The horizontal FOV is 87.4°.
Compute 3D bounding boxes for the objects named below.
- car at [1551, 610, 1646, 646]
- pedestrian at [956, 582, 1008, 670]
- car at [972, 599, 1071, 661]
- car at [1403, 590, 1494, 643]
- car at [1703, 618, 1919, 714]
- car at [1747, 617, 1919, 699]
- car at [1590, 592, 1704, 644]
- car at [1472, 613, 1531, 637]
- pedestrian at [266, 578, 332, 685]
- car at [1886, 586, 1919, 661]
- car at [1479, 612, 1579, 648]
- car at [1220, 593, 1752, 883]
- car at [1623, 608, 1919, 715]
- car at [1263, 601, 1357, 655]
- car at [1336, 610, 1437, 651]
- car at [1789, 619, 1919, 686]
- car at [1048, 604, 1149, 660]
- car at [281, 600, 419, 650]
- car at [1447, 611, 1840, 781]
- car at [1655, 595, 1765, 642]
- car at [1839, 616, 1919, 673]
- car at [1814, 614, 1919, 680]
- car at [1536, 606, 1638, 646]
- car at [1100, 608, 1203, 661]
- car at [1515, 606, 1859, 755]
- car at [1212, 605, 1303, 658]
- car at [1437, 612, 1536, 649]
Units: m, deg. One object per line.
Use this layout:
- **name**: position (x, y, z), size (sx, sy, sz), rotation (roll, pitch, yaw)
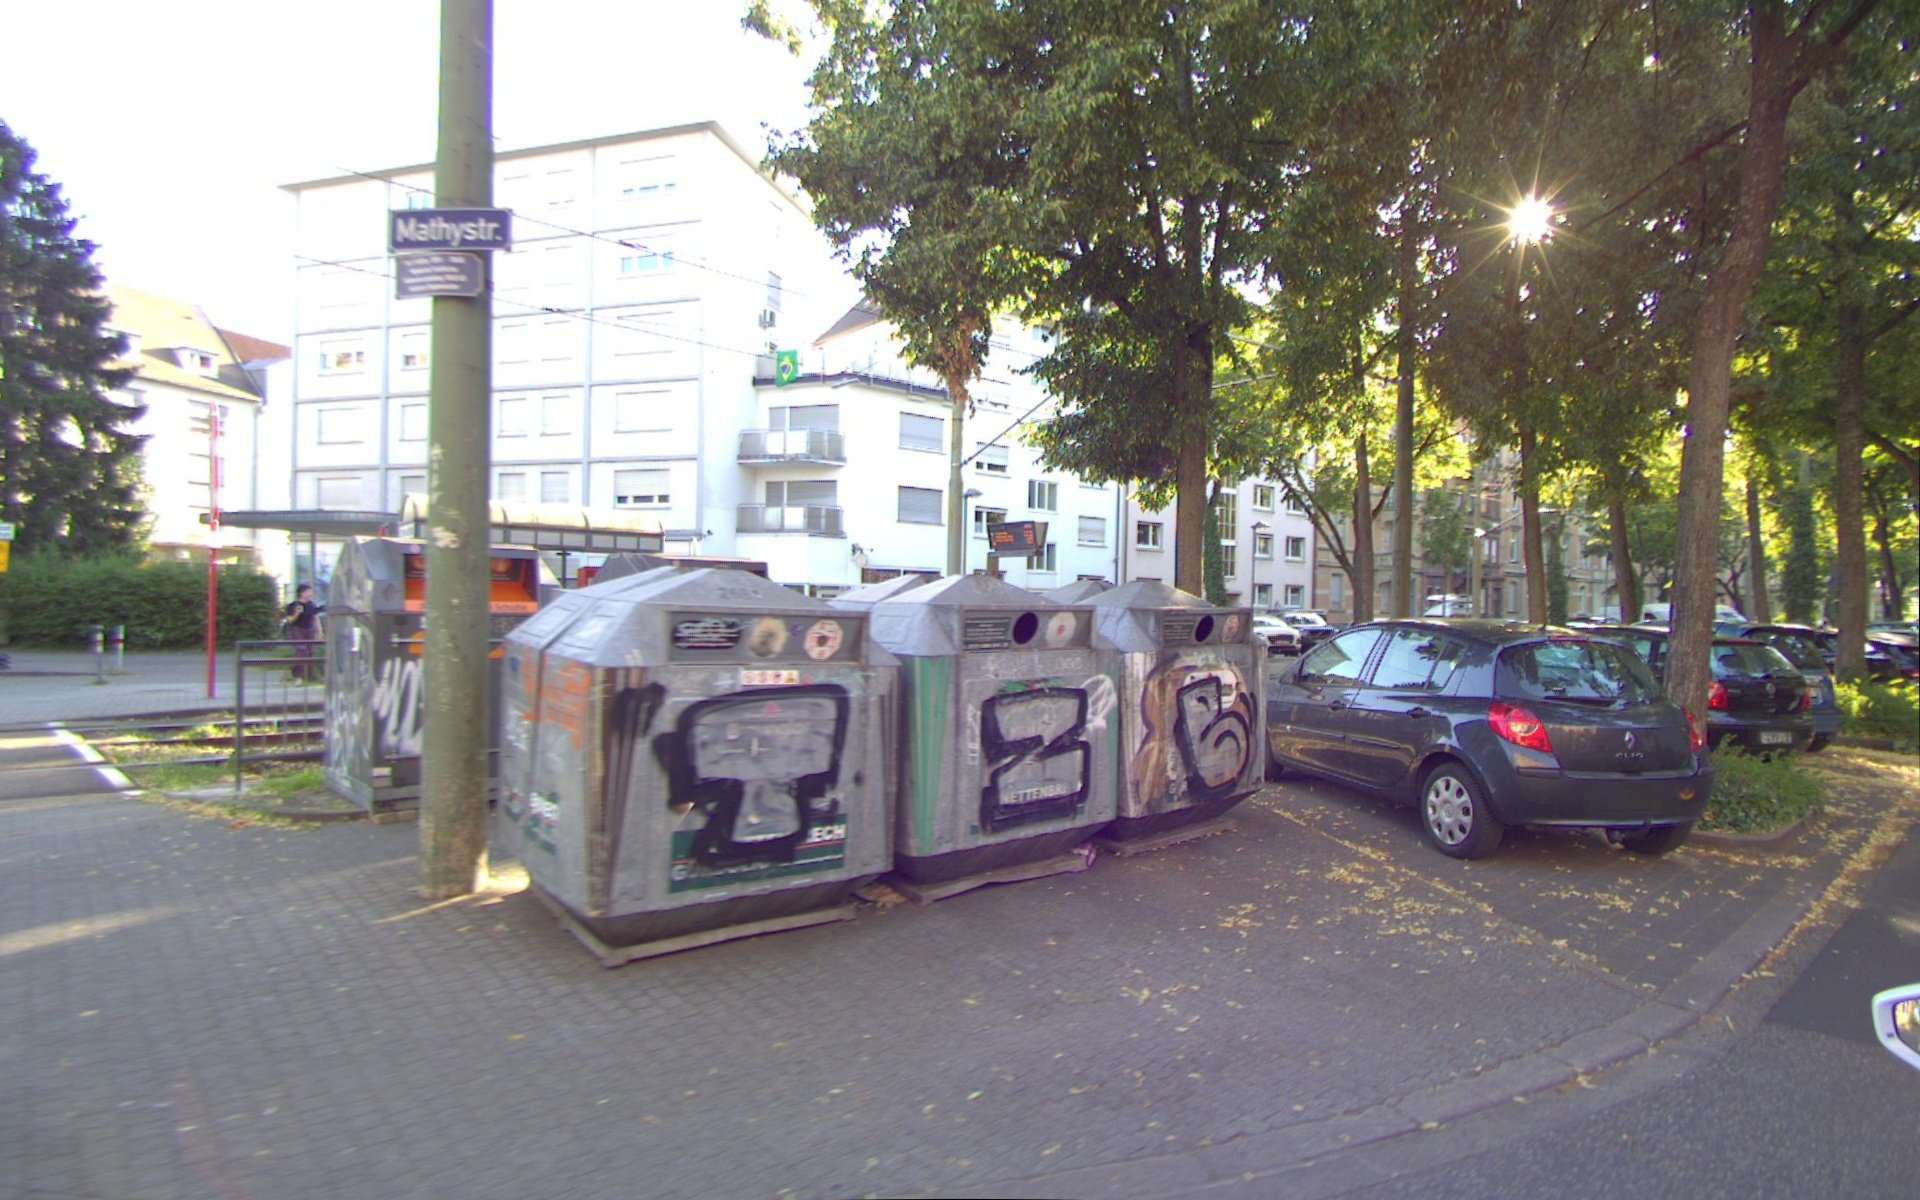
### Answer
- **car**: position (33.654, 1.513, 53.081), size (1.824, 1.721, 4.237), rotation (-1, -4, -9)
- **pedestrian**: position (0.491, 0.574, 22.536), size (0.830, 1.936, 0.842), rotation (1, 0, -37)
- **car**: position (1.607, 0.882, 27.712), size (1.580, 1.527, 4.233), rotation (-1, -4, -13)
- **car**: position (28.728, 0.970, 58.994), size (5.426, 2.925, 2.536), rotation (1, -1, -35)
- **car**: position (16.671, 1.192, 19.050), size (1.710, 1.410, 3.814), rotation (3, 2, -17)
- **car**: position (19.024, 1.192, 20.912), size (1.710, 1.410, 3.814), rotation (3, 2, -17)
- **car**: position (38.561, 1.071, 56.572), size (2.232, 2.605, 5.263), rotation (-1, -4, -9)
- **car**: position (34.266, 1.560, 63.536), size (3.960, 1.465, 1.700), rotation (1, -1, -35)
- **pedestrian**: position (-11.224, 0.519, 17.054), size (0.863, 1.759, 0.822), rotation (1, 1, -38)
- **car**: position (33.233, 0.880, 32.578), size (1.785, 2.509, 4.495), rotation (3, 2, -6)
- **car**: position (26.649, 1.432, 47.216), size (1.824, 1.492, 4.237), rotation (-1, -4, -9)
- **car**: position (3.609, 0.792, 7.739), size (1.579, 1.541, 3.726), rotation (1, 2, -12)
- **car**: position (14.479, 1.030, 18.225), size (1.710, 1.517, 3.814), rotation (2, 2, -17)
- **car**: position (12.645, 1.075, 36.605), size (1.821, 1.771, 4.243), rotation (-1, -4, -1)
- **car**: position (17.351, 1.305, 41.115), size (1.824, 1.492, 4.237), rotation (-1, -4, -9)
- **car**: position (23.536, 1.334, 25.220), size (1.710, 1.440, 3.814), rotation (3, 2, -17)
- **car**: position (3.997, 1.001, 29.694), size (1.580, 1.477, 4.233), rotation (-1, -4, -13)
- **car**: position (-20.379, 0.796, 33.567), size (3.922, 1.553, 1.999), rotation (1, 0, 22)
- **car**: position (7.623, 0.963, 11.658), size (1.580, 1.467, 3.608), rotation (1, 2, -14)
- **car**: position (45.665, 1.198, 61.345), size (2.232, 2.605, 5.263), rotation (-1, -4, -9)
- **car**: position (27.989, 1.363, 28.807), size (1.710, 1.501, 3.814), rotation (3, 2, -17)
- **car**: position (25.960, 1.315, 27.299), size (1.710, 1.608, 3.814), rotation (2, 2, -17)
- **car**: position (30.369, 1.317, 48.795), size (1.824, 1.721, 4.237), rotation (-1, -4, -9)
- **car**: position (5.881, 1.113, 31.379), size (1.580, 1.477, 4.233), rotation (-1, -4, -13)
- **car**: position (9.668, 0.968, 13.729), size (1.580, 1.583, 3.608), rotation (1, 2, -13)
- **car**: position (10.333, 1.154, 35.188), size (1.821, 1.672, 4.243), rotation (-1, -4, -1)
- **car**: position (23.984, 1.416, 45.926), size (1.824, 1.492, 4.237), rotation (-1, -4, -9)
